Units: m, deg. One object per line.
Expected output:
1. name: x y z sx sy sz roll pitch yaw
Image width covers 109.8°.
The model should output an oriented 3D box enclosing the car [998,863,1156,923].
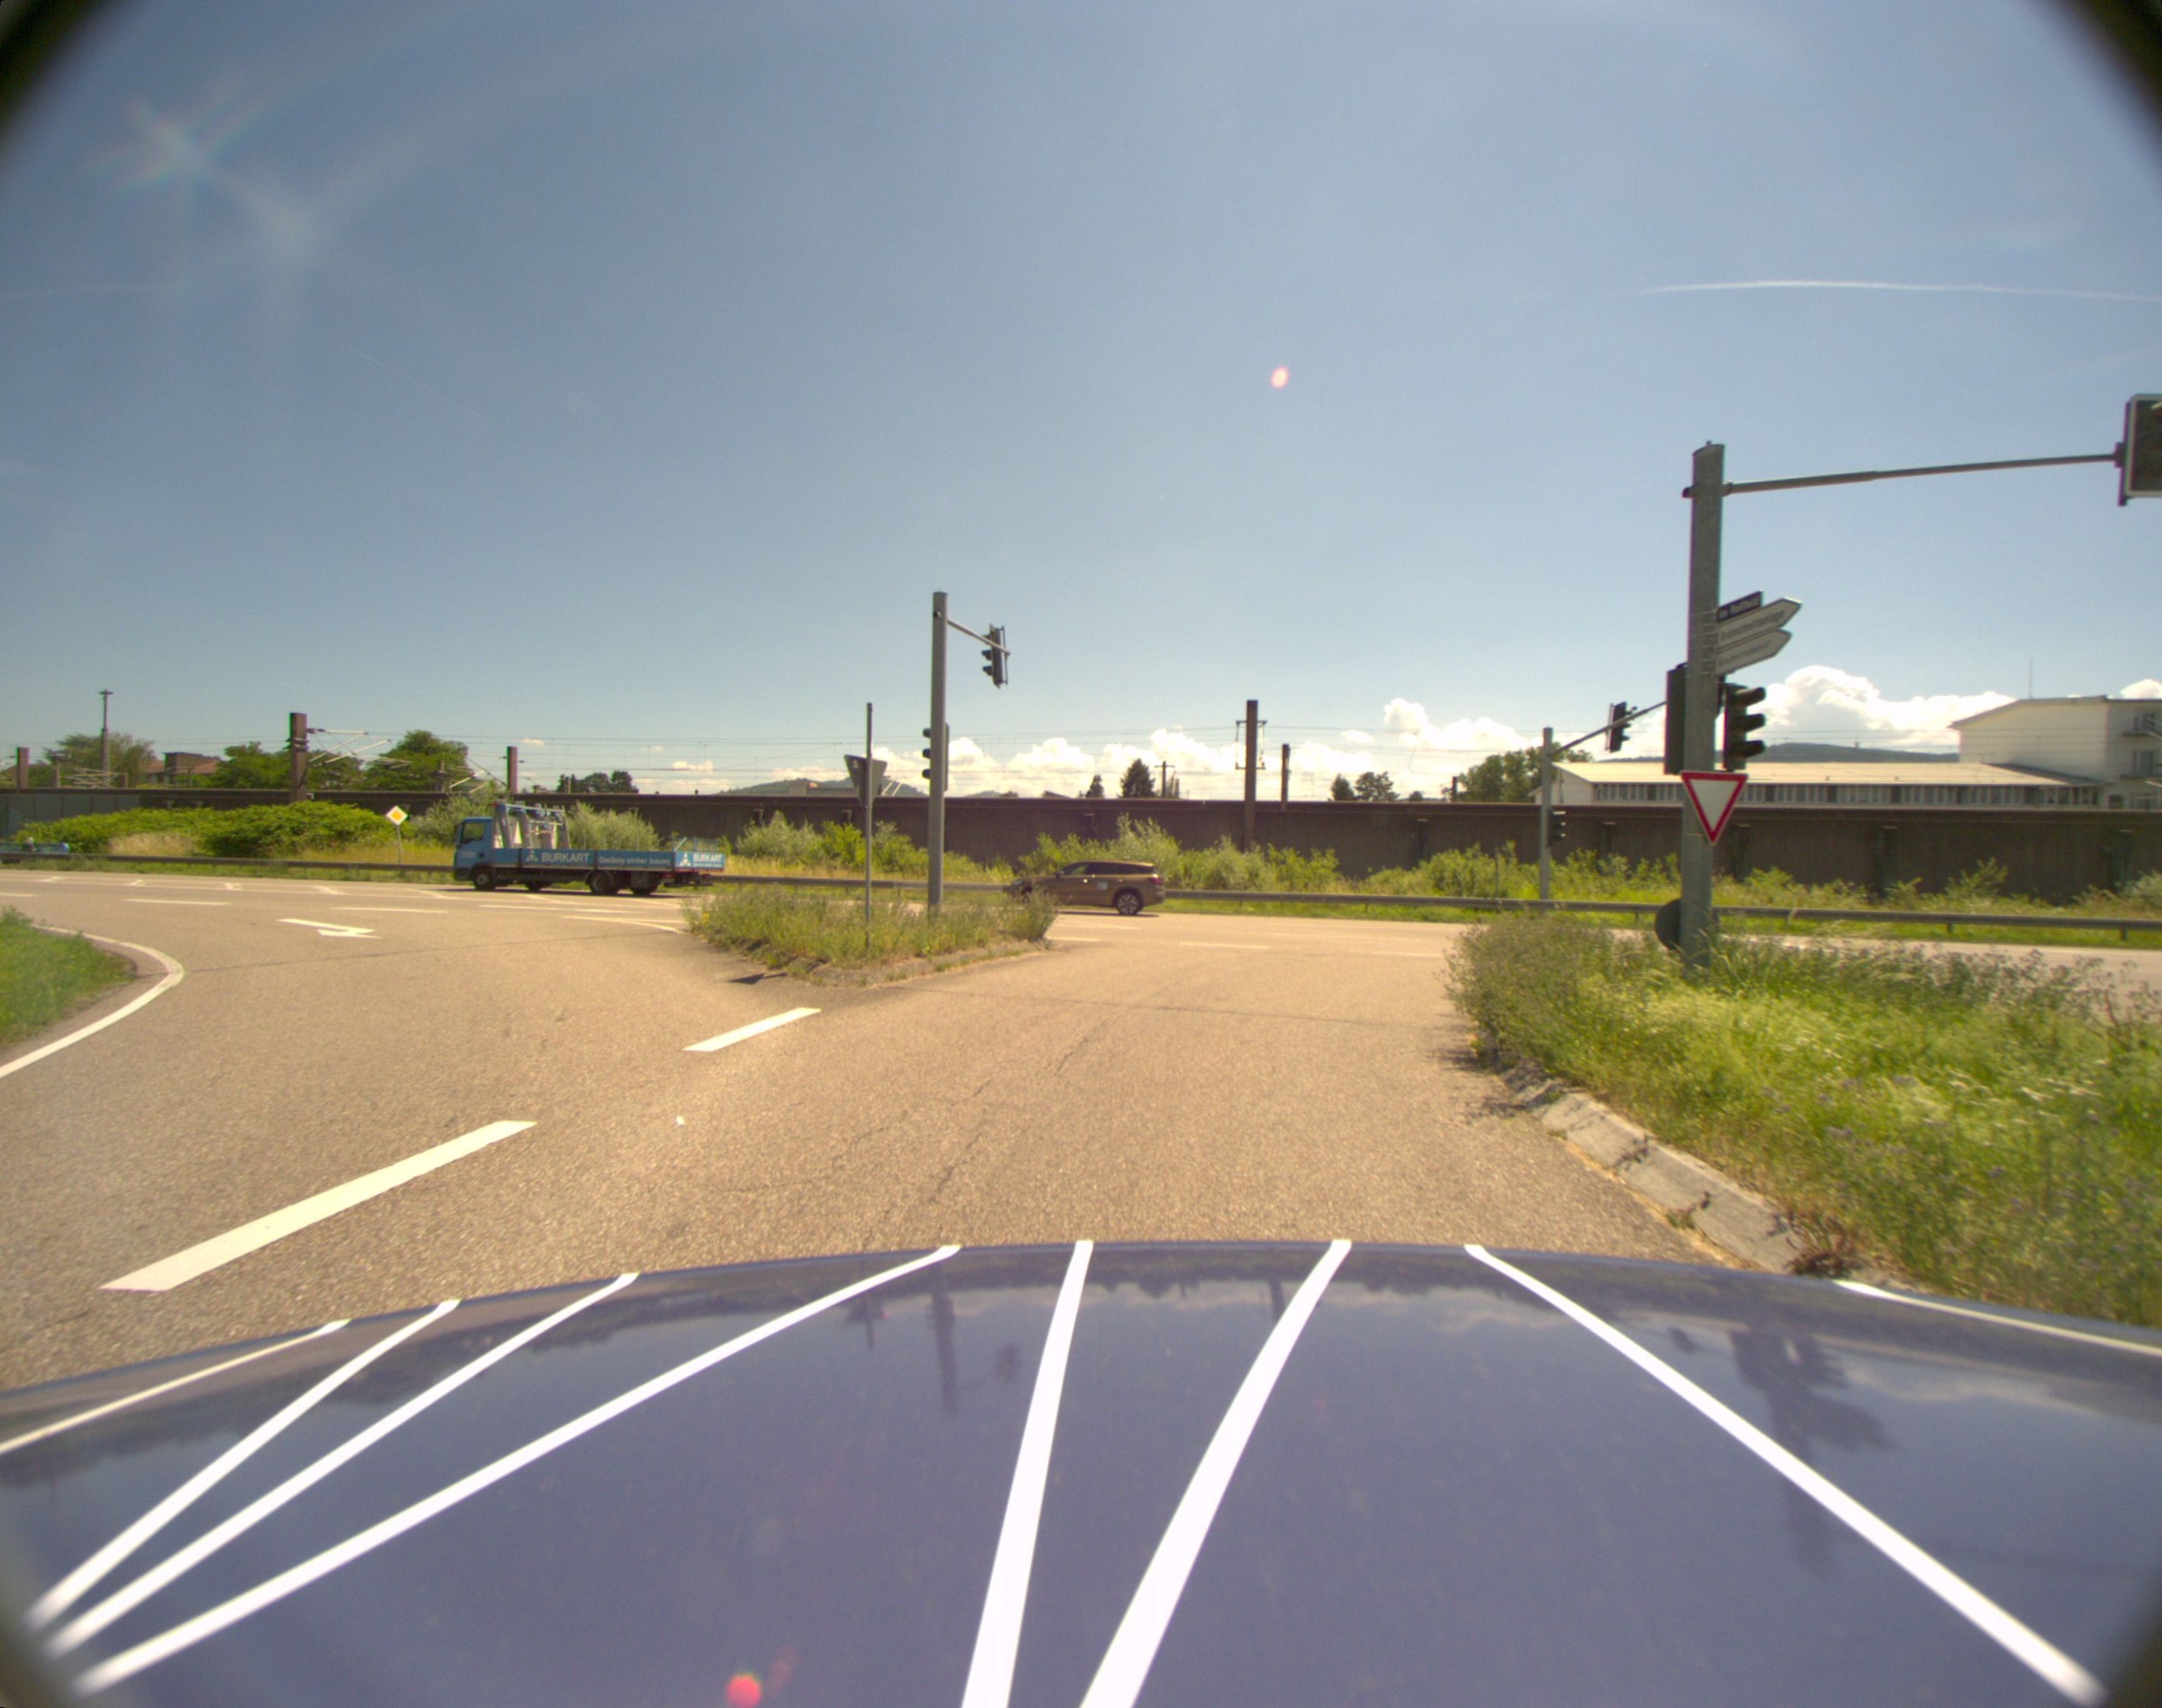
1. car: -0.075 1.172 23.419 4.616 1.617 1.707 2 -1 9

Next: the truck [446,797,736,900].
1. truck: -16.758 -0.210 26.210 8.611 3.131 2.925 2 0 10
